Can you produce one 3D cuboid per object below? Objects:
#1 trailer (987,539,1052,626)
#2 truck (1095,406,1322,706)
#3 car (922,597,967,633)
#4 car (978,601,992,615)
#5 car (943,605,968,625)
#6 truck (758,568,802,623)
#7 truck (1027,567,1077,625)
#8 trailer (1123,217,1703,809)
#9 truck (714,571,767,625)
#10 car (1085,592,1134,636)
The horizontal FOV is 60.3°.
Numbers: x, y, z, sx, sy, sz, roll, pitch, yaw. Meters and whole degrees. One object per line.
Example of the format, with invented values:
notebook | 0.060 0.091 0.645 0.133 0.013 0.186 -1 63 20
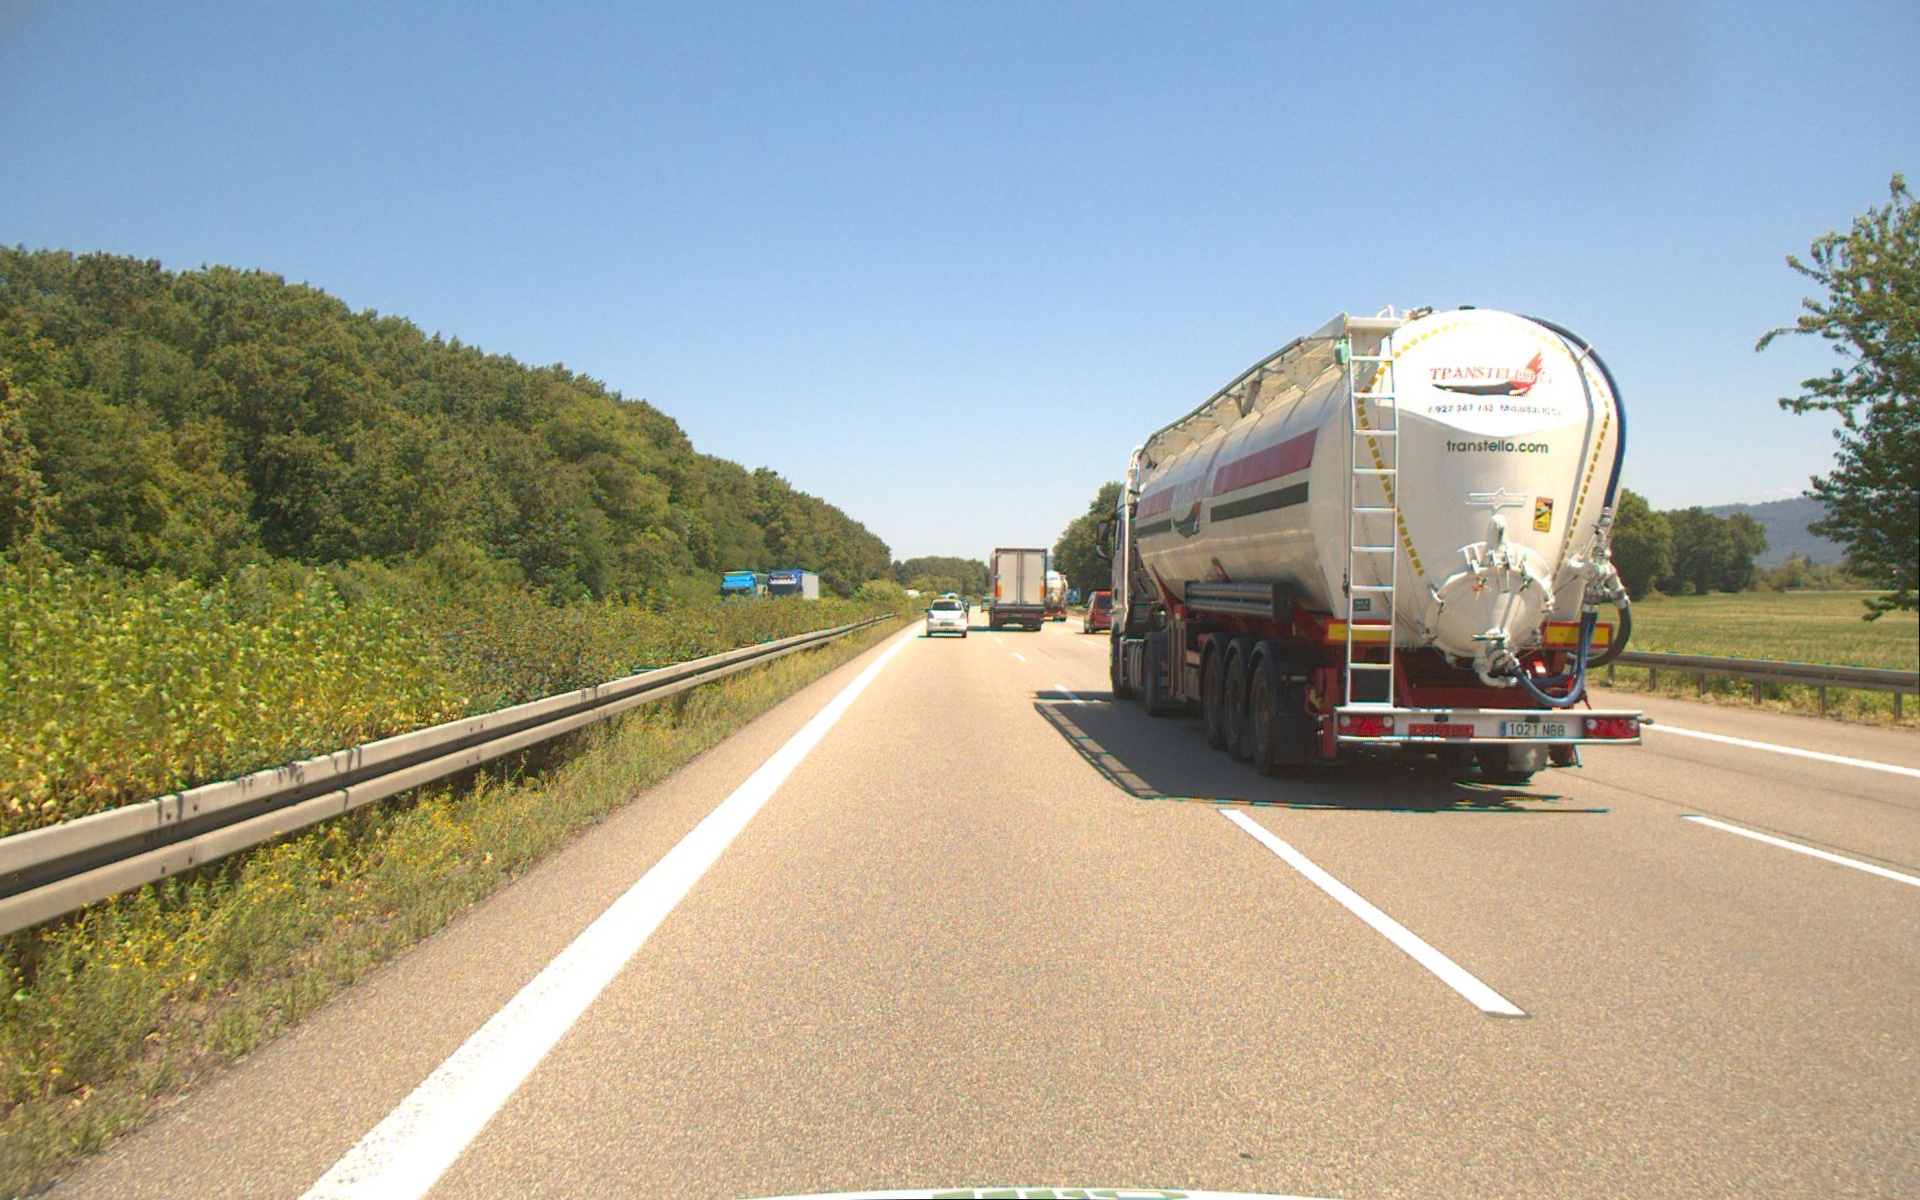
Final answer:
trailer | 3.099 -0.852 86.798 3.157 4.216 12.354 0 0 2
truck | 3.745 -0.631 26.069 2.734 4.278 4.999 0 0 -1
car | -0.669 0.614 67.666 1.775 1.429 3.316 0 0 -2
car | 3.080 0.989 204.579 1.634 1.796 4.000 0 0 0
car | -0.296 0.966 108.533 1.634 1.312 4.000 0 0 0
truck | -13.555 -0.318 124.887 2.811 4.080 5.000 0 0 0
truck | 7.238 -0.299 131.475 3.158 4.421 10.804 0 0 -1
trailer | 3.902 -0.636 18.168 2.734 4.278 12.349 0 0 -1
truck | -17.521 -0.161 132.641 2.952 4.186 9.999 0 0 0
car | 7.140 0.649 79.555 1.818 2.038 5.521 1 0 0
